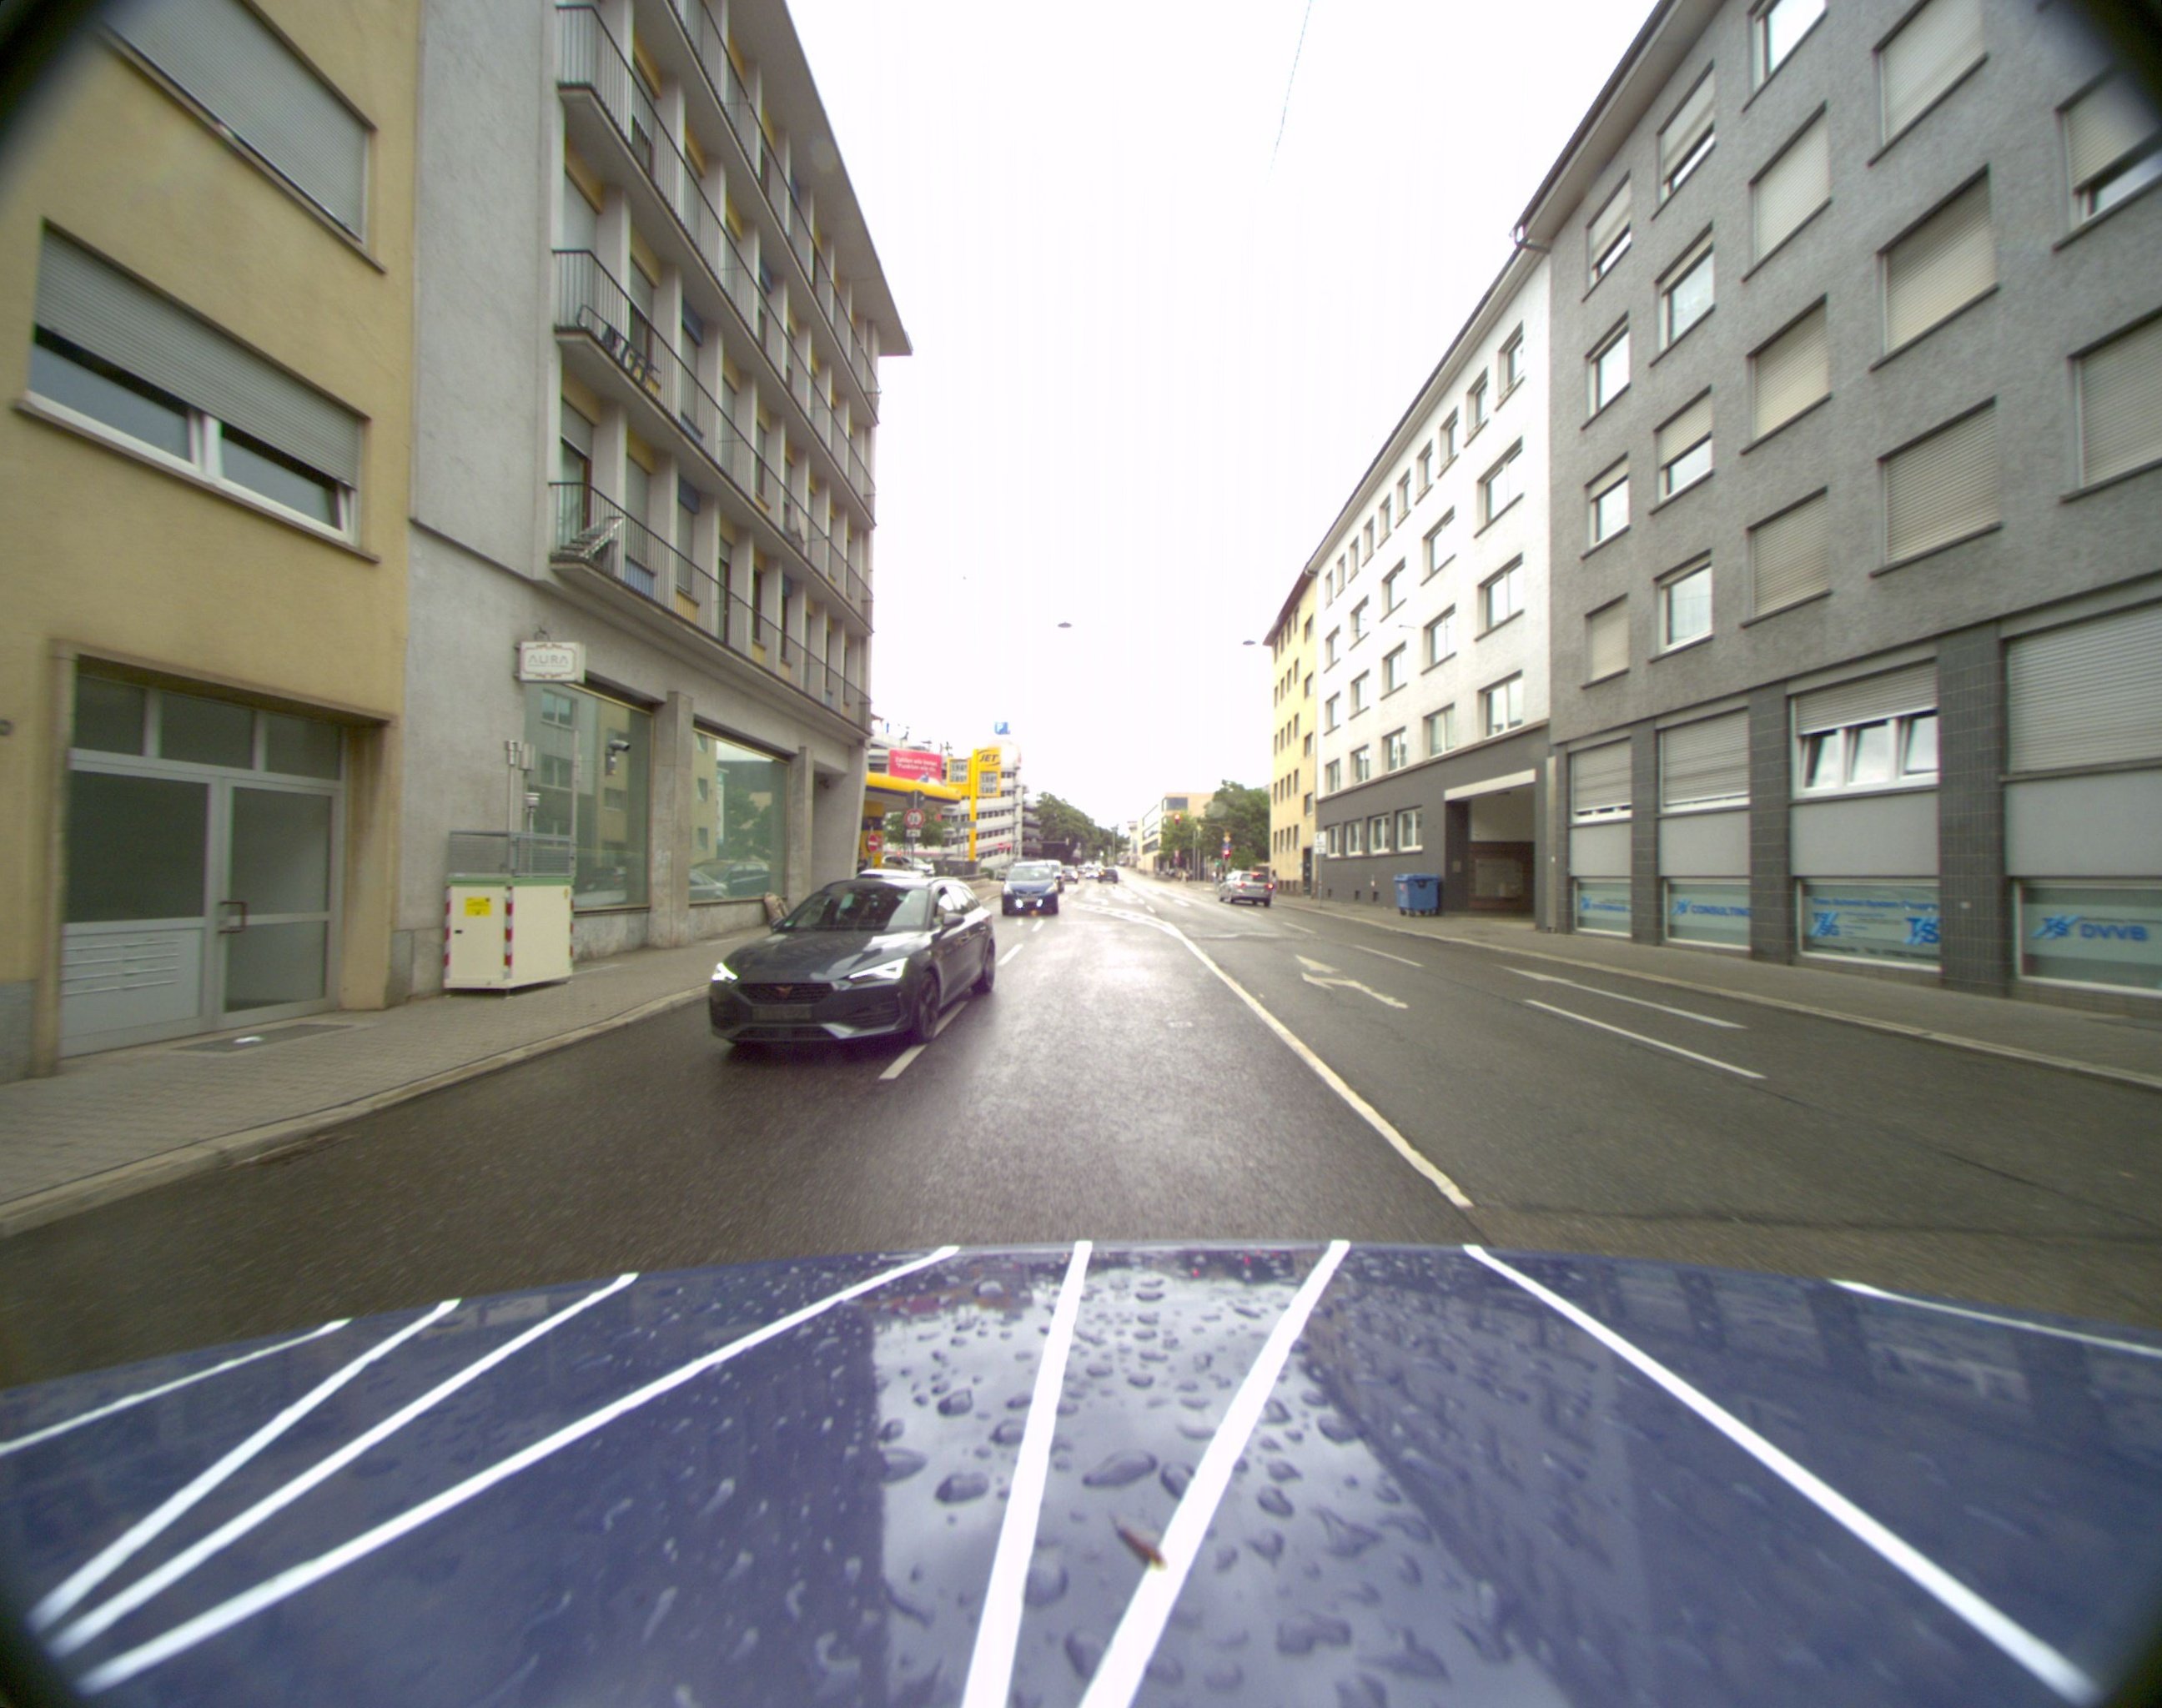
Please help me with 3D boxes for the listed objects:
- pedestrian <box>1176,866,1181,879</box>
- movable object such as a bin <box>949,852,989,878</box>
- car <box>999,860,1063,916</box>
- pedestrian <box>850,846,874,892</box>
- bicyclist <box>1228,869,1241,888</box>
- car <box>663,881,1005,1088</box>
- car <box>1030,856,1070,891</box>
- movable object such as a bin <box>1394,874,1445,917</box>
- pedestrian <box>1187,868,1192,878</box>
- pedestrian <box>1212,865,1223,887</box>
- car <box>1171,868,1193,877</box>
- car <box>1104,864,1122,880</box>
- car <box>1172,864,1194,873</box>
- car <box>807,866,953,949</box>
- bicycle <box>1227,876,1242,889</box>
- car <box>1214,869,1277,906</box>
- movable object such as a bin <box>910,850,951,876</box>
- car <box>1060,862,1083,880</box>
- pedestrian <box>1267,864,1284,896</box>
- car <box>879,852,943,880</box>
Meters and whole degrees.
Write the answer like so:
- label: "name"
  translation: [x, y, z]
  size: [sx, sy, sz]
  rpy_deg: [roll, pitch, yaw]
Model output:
- label: "pedestrian"
  translation: [13.311, 2.459, 103.403]
  size: [0.595, 1.761, 0.692]
  rpy_deg: [-1, 0, 1]
- label: "movable object such as a bin"
  translation: [-7.081, 0.686, 48.272]
  size: [2.160, 1.565, 1.773]
  rpy_deg: [1, 0, 2]
- label: "car"
  translation: [-1.530, 1.036, 24.461]
  size: [1.846, 1.646, 4.000]
  rpy_deg: [0, -1, -1]
- label: "pedestrian"
  translation: [-8.645, 0.606, 30.041]
  size: [0.661, 1.761, 0.528]
  rpy_deg: [3, 1, -40]
- label: "bicyclist"
  translation: [11.870, 1.910, 58.762]
  size: [0.844, 1.433, 0.813]
  rpy_deg: [-1, 0, 4]
- label: "car"
  translation: [-2.043, 1.037, 7.831]
  size: [1.738, 1.380, 4.584]
  rpy_deg: [-1, -1, 4]
- label: "car"
  translation: [-1.692, 1.053, 42.475]
  size: [1.804, 1.817, 3.951]
  rpy_deg: [-2, -1, 3]
- label: "movable object such as a bin"
  translation: [10.678, 1.296, 24.011]
  size: [1.079, 1.316, 1.191]
  rpy_deg: [-1, 0, 2]
- label: "pedestrian"
  translation: [14.719, 2.585, 103.284]
  size: [0.622, 1.368, 0.475]
  rpy_deg: [-1, 0, 2]
- label: "pedestrian"
  translation: [10.802, 1.747, 60.067]
  size: [0.719, 1.679, 0.811]
  rpy_deg: [-1, 0, 4]
- label: "car"
  translation: [18.537, 3.336, 139.244]
  size: [3.995, 1.575, 2.001]
  rpy_deg: [-1, 0, 6]
- label: "car"
  translation: [3.308, 1.803, 78.227]
  size: [1.812, 1.585, 4.296]
  rpy_deg: [1, -1, 3]
- label: "car"
  translation: [18.343, 2.557, 136.770]
  size: [3.995, 1.575, 2.001]
  rpy_deg: [-1, 0, 6]
- label: "car"
  translation: [-4.214, 1.058, 16.745]
  size: [1.898, 1.394, 4.609]
  rpy_deg: [5, -1, 0]
- label: "bicycle"
  translation: [11.905, 2.191, 58.857]
  size: [0.887, 0.902, 1.867]
  rpy_deg: [-1, -1, 4]
- label: "car"
  translation: [7.189, 1.413, 33.572]
  size: [1.831, 1.408, 4.296]
  rpy_deg: [4, -1, 1]
- label: "movable object such as a bin"
  translation: [-9.539, 0.545, 48.252]
  size: [2.160, 1.546, 1.773]
  rpy_deg: [2, 0, 2]
- label: "car"
  translation: [-0.836, 1.531, 70.246]
  size: [1.804, 1.561, 3.951]
  rpy_deg: [-2, -1, 3]
- label: "pedestrian"
  translation: [10.390, 1.400, 40.605]
  size: [0.719, 1.679, 0.811]
  rpy_deg: [-1, 0, 4]
- label: "car"
  translation: [-9.975, 0.699, 44.303]
  size: [1.750, 1.433, 3.987]
  rpy_deg: [2, 0, -44]
